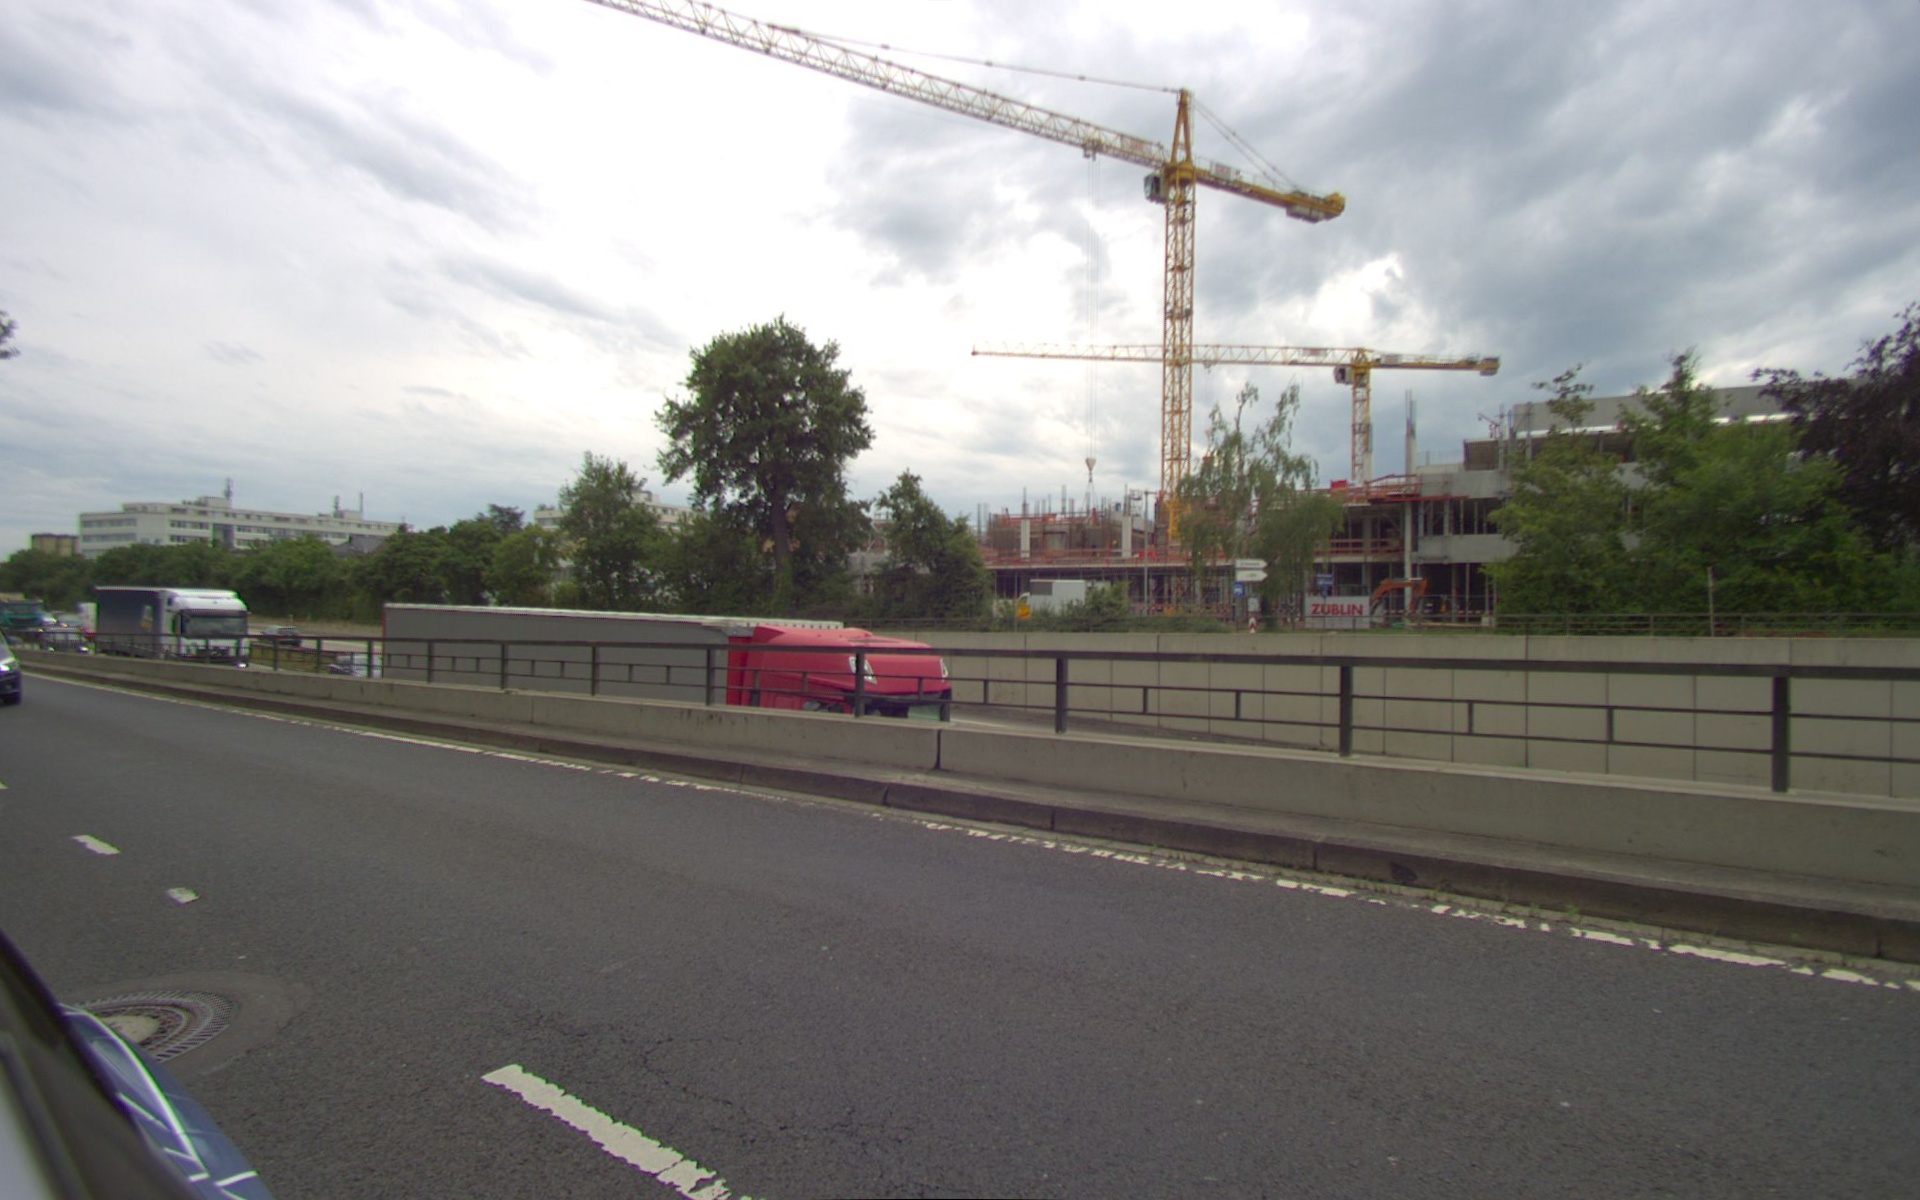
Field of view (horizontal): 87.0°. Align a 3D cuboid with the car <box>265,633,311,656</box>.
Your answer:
[{"bbox_3d":[-45.929,3.028,69.157,3.895,1.452,1.606,0,-1,41],"label":"car"}]

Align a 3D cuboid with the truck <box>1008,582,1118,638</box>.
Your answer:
[{"bbox_3d":[5.826,0.543,58.559,1.990,3.009,7.113,-1,0,-38],"label":"truck"}]

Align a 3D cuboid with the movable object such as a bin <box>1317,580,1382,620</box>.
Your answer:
[{"bbox_3d":[21.533,0.010,55.899,3.054,2.029,1.741,0,-5,32],"label":"movable object such as a bin"}]

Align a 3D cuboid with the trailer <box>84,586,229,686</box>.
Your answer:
[{"bbox_3d":[-37.619,1.530,47.043,14.775,4.067,2.498,0,-1,41],"label":"trailer"}]

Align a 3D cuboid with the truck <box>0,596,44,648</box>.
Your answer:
[{"bbox_3d":[-68.959,1.574,73.610,6.663,3.663,2.611,0,-1,41],"label":"truck"}]

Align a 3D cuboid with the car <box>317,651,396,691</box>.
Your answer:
[{"bbox_3d":[-25.571,2.964,42.850,3.892,1.452,1.608,0,-1,39],"label":"car"}]

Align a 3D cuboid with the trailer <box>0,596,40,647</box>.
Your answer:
[{"bbox_3d":[-74.000,1.590,77.958,16.739,3.668,2.580,0,-1,41],"label":"trailer"}]

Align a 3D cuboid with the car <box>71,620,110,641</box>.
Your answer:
[{"bbox_3d":[-65.002,2.293,75.649,3.997,1.452,1.607,-1,0,41],"label":"car"}]

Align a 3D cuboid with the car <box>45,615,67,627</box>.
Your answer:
[{"bbox_3d":[-116.456,2.717,130.364,3.895,1.452,1.606,0,-1,41],"label":"car"}]

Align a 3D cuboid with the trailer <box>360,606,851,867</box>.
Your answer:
[{"bbox_3d":[-8.367,2.180,21.428,14.540,4.067,2.625,0,-1,39],"label":"trailer"}]

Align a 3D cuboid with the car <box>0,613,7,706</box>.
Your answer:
[{"bbox_3d":[-18.373,1.035,18.054,4.423,1.575,1.760,-1,0,44],"label":"car"}]

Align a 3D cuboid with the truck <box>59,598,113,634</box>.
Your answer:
[{"bbox_3d":[-102.360,1.873,118.392,13.773,4.067,2.918,0,-1,42],"label":"truck"}]

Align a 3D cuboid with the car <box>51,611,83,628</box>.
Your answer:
[{"bbox_3d":[-80.379,1.703,91.081,3.997,1.452,1.607,-1,0,41],"label":"car"}]

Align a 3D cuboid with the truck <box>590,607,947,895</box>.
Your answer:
[{"bbox_3d":[-3.445,2.176,17.378,6.197,4.067,2.678,0,-1,39],"label":"truck"}]

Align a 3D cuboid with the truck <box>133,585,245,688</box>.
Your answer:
[{"bbox_3d":[-32.622,1.479,42.732,6.093,4.067,2.498,0,-1,41],"label":"truck"}]

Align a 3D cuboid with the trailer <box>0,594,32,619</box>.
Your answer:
[{"bbox_3d":[-160.253,1.171,171.525,13.767,4.067,2.499,0,-1,40],"label":"trailer"}]
